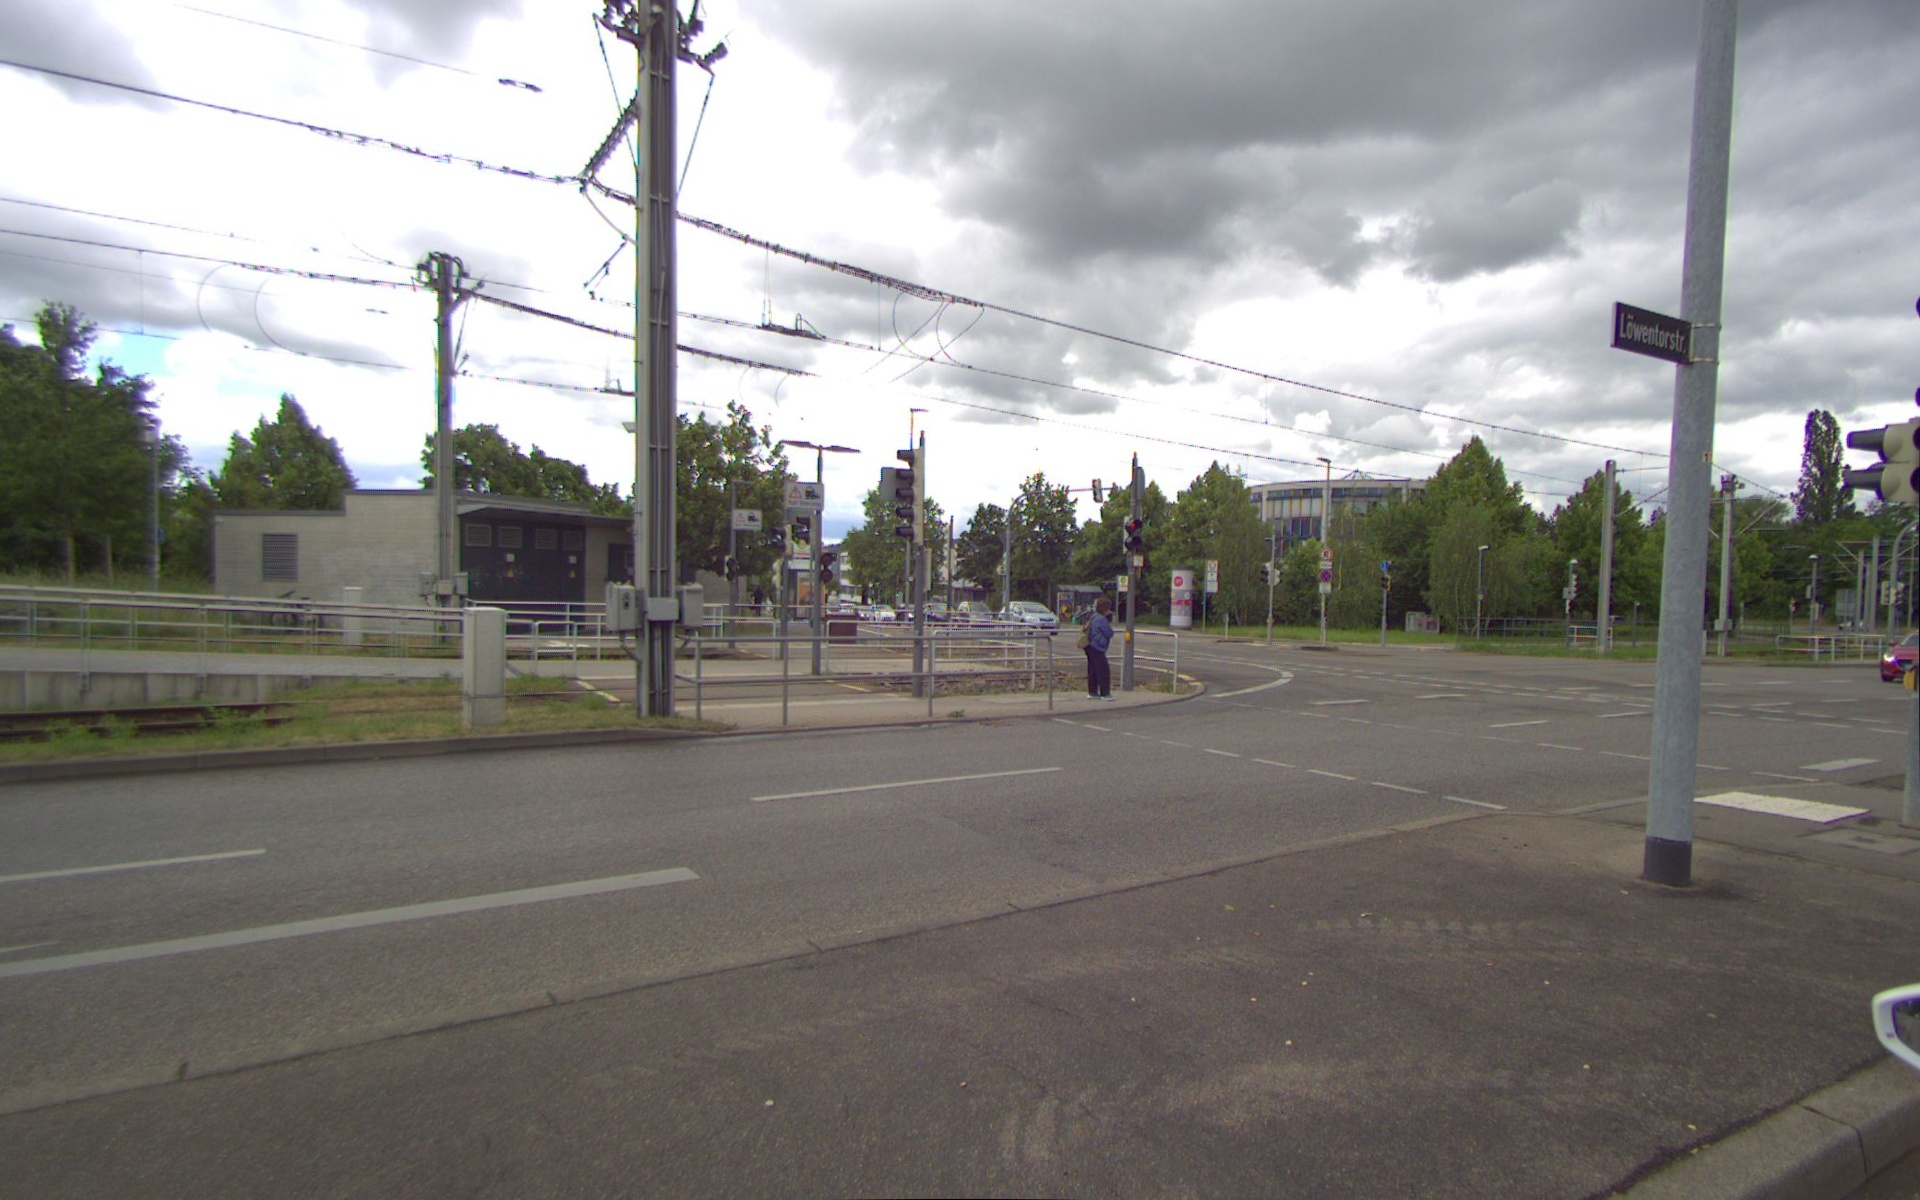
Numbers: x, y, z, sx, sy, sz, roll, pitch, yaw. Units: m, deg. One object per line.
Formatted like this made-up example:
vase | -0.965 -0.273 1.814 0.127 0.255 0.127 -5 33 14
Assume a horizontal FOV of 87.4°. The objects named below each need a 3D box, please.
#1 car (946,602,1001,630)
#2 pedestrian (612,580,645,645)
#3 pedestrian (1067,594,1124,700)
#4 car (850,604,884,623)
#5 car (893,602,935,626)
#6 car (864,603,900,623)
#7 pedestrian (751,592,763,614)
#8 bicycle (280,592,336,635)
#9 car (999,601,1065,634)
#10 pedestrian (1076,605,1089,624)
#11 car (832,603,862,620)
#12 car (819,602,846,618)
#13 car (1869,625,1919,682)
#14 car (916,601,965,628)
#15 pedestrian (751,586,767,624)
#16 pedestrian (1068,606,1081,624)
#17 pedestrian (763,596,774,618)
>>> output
car | 0.694 0.846 53.670 1.706 1.456 3.731 1 0 -20
pedestrian | -8.467 0.317 25.662 0.697 1.628 0.654 1 0 -26
pedestrian | 2.087 0.702 15.440 0.701 1.584 0.533 1 1 -44
car | -7.413 1.027 79.686 1.706 1.456 3.991 1 0 -20
car | -2.999 0.891 64.932 1.706 1.456 3.731 1 0 -20
car | -5.808 0.966 74.783 1.706 1.456 3.731 1 0 -20
pedestrian | -15.234 0.204 75.253 0.771 1.649 0.660 1 0 -22
bicycle | -17.322 0.347 26.678 1.452 1.101 0.492 1 0 22
car | 3.307 0.802 46.811 1.706 1.456 3.731 1 0 -20
pedestrian | 8.712 1.053 71.582 0.652 1.322 0.780 1 0 -16
car | -9.764 0.991 86.717 1.706 1.456 3.731 1 0 -20
car | -11.926 0.966 94.073 1.706 1.456 3.731 1 0 -20
car | 26.985 1.459 27.836 4.381 1.462 1.769 1 -1 -35
car | -1.145 0.819 58.166 1.706 1.456 3.731 1 0 -20
pedestrian | -10.779 0.262 53.833 0.738 1.993 0.795 1 0 -9
pedestrian | 8.314 1.083 72.917 0.652 1.321 0.780 1 0 -16
pedestrian | -14.576 0.522 76.397 0.695 1.649 0.629 1 0 -24
